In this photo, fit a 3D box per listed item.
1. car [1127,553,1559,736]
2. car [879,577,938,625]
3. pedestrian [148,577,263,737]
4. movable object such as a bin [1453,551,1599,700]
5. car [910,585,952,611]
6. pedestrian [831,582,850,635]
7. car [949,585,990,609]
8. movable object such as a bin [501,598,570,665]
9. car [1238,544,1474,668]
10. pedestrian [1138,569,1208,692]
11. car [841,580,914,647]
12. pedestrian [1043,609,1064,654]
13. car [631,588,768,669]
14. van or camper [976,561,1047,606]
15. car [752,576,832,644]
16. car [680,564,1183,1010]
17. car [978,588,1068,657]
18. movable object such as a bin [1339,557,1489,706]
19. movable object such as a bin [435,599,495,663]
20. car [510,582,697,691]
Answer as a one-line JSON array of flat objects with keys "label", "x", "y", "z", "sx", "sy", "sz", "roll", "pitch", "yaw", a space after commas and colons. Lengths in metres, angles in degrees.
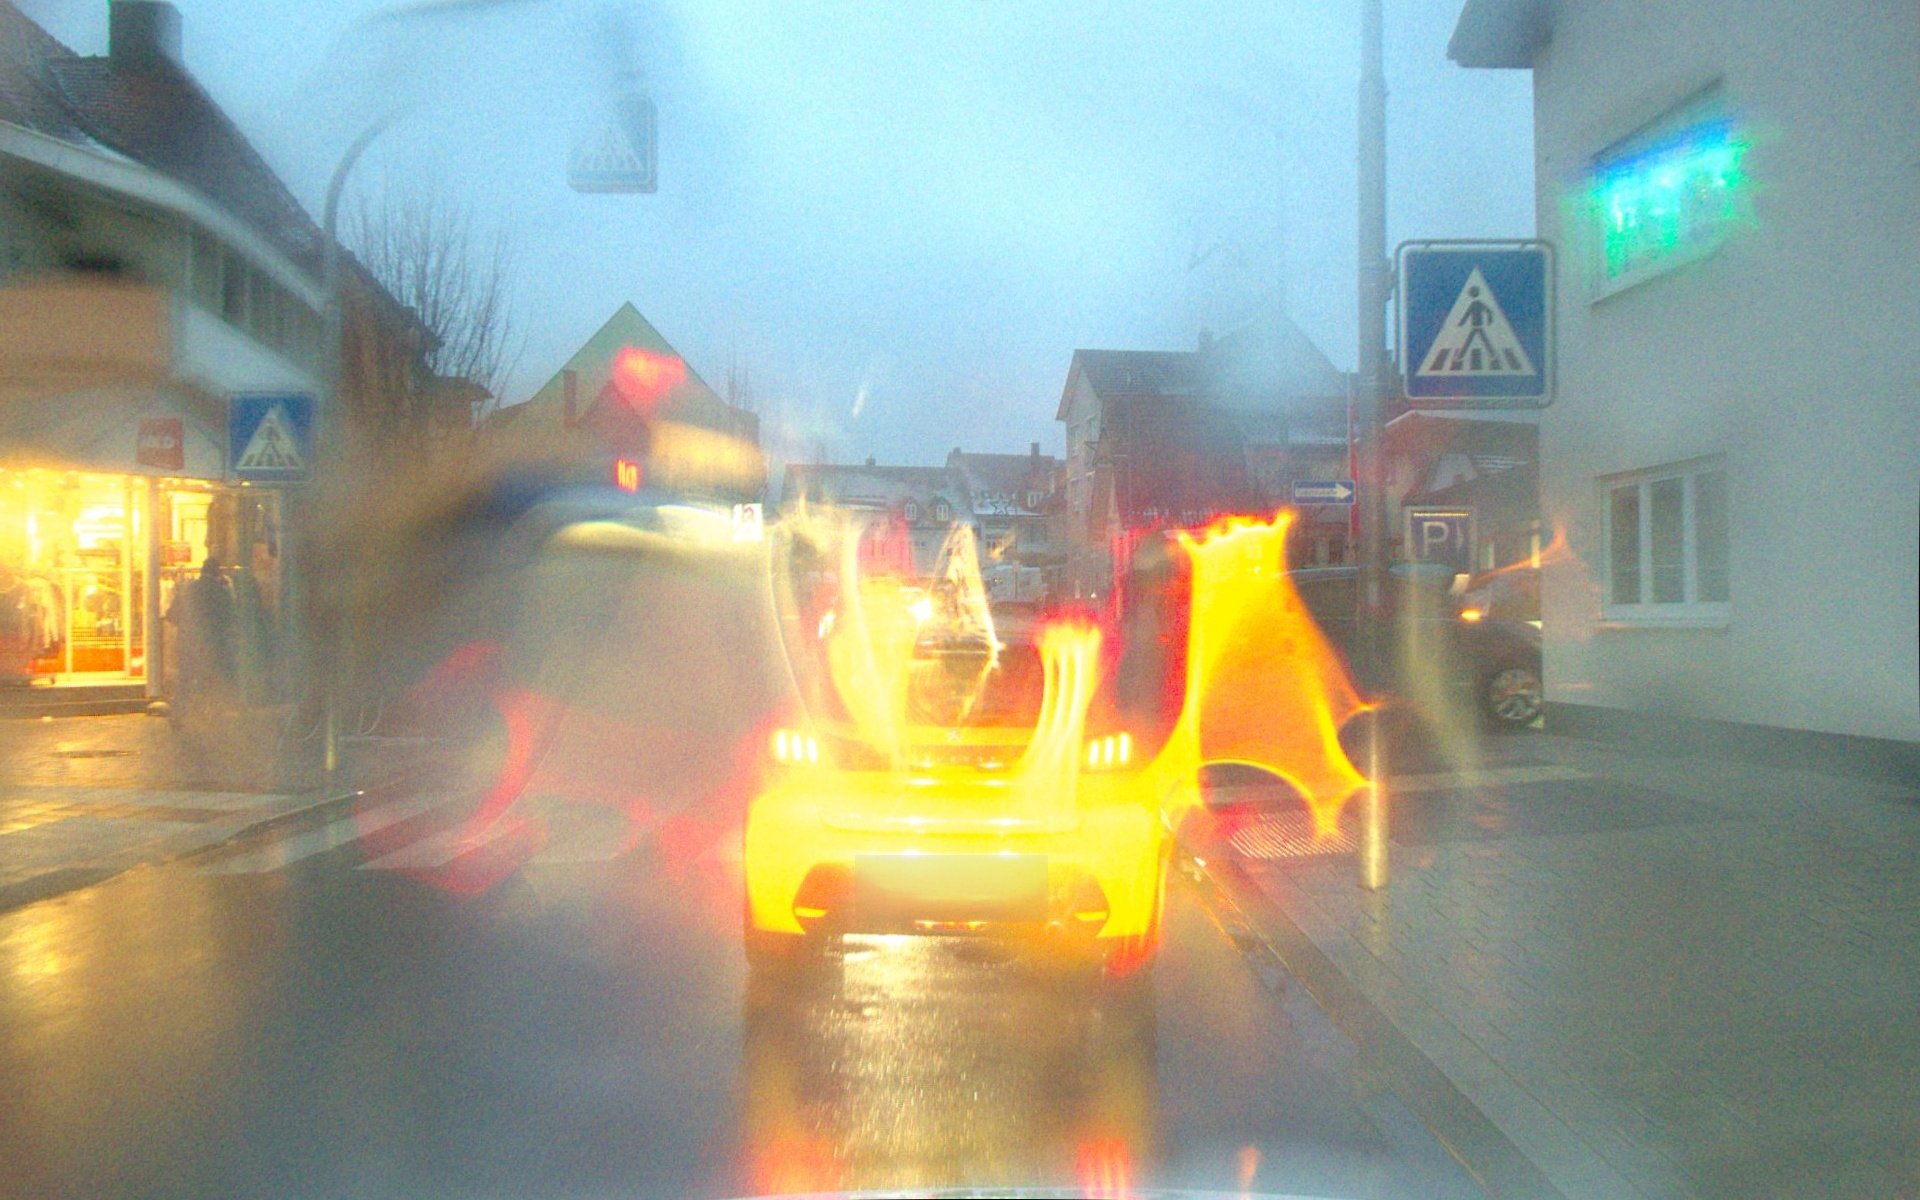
[{"label": "car", "x": 3.888, "y": 0.435, "z": 16.751, "sx": 3.940, "sy": 1.653, "sz": 1.981, "roll": 1, "pitch": 0, "yaw": -28}, {"label": "car", "x": -2.060, "y": 0.001, "z": 64.963, "sx": 1.914, "sy": 1.573, "sz": 4.411, "roll": 4, "pitch": 2, "yaw": -7}, {"label": "pedestrian", "x": -8.272, "y": 0.606, "z": 18.179, "sx": 0.810, "sy": 1.687, "sz": 1.096, "roll": 2, "pitch": 0, "yaw": -7}, {"label": "movable object such as a bin", "x": 6.754, "y": 0.288, "z": 19.807, "sx": 1.259, "sy": 1.672, "sz": 1.185, "roll": -2, "pitch": 0, "yaw": -2}, {"label": "car", "x": -2.146, "y": -0.185, "z": 119.094, "sx": 1.961, "sy": 1.796, "sz": 4.332, "roll": -2, "pitch": 1, "yaw": -16}, {"label": "pedestrian", "x": -3.704, "y": 0.258, "z": 51.105, "sx": 0.563, "sy": 1.613, "sz": 0.530, "roll": 0, "pitch": 1, "yaw": -2}, {"label": "car", "x": 0.659, "y": -0.210, "z": 119.444, "sx": 1.960, "sy": 1.639, "sz": 4.159, "roll": -2, "pitch": -1, "yaw": -14}, {"label": "movable object such as a bin", "x": -9.272, "y": 0.674, "z": 36.201, "sx": 1.315, "sy": 1.378, "sz": 0.887, "roll": -3, "pitch": 0, "yaw": -9}, {"label": "car", "x": 7.185, "y": 0.116, "z": 30.404, "sx": 4.003, "sy": 2.085, "sz": 2.002, "roll": -2, "pitch": 0, "yaw": 9}, {"label": "pedestrian", "x": 3.419, "y": 0.485, "z": 26.639, "sx": 0.947, "sy": 1.922, "sz": 1.005, "roll": 1, "pitch": 0, "yaw": -2}, {"label": "car", "x": -2.400, "y": 0.344, "z": 49.208, "sx": 1.953, "sy": 1.735, "sz": 4.966, "roll": 2, "pitch": 1, "yaw": -1}, {"label": "pedestrian", "x": 3.746, "y": 1.261, "z": 66.421, "sx": 0.730, "sy": 1.759, "sz": 0.872, "roll": 0, "pitch": 1, "yaw": -3}, {"label": "car", "x": -5.293, "y": 0.548, "z": 34.255, "sx": 1.952, "sy": 1.549, "sz": 4.978, "roll": 0, "pitch": 0, "yaw": 1}, {"label": "van or camper", "x": 3.714, "y": -1.183, "z": 120.210, "sx": 2.614, "sy": 3.100, "sz": 6.690, "roll": -3, "pitch": 1, "yaw": -22}, {"label": "car", "x": -4.760, "y": 0.251, "z": 47.437, "sx": 2.044, "sy": 1.823, "sz": 5.020, "roll": 1, "pitch": 1, "yaw": -4}, {"label": "car", "x": -0.054, "y": 0.671, "z": 7.934, "sx": 1.777, "sy": 1.560, "sz": 4.001, "roll": 1, "pitch": 0, "yaw": 1}, {"label": "car", "x": 1.558, "y": 0.549, "z": 42.153, "sx": 1.954, "sy": 1.616, "sz": 3.998, "roll": 1, "pitch": 0, "yaw": -3}, {"label": "movable object such as a bin", "x": 5.419, "y": 0.361, "z": 19.843, "sx": 1.365, "sy": 1.672, "sz": 1.261, "roll": -2, "pitch": 0, "yaw": -2}, {"label": "movable object such as a bin", "x": -10.773, "y": 0.668, "z": 36.006, "sx": 1.129, "sy": 1.378, "sz": 0.850, "roll": 0, "pitch": 0, "yaw": -10}, {"label": "car", "x": -5.702, "y": 0.536, "z": 27.045, "sx": 1.952, "sy": 1.585, "sz": 4.621, "roll": 1, "pitch": 0, "yaw": 1}]
